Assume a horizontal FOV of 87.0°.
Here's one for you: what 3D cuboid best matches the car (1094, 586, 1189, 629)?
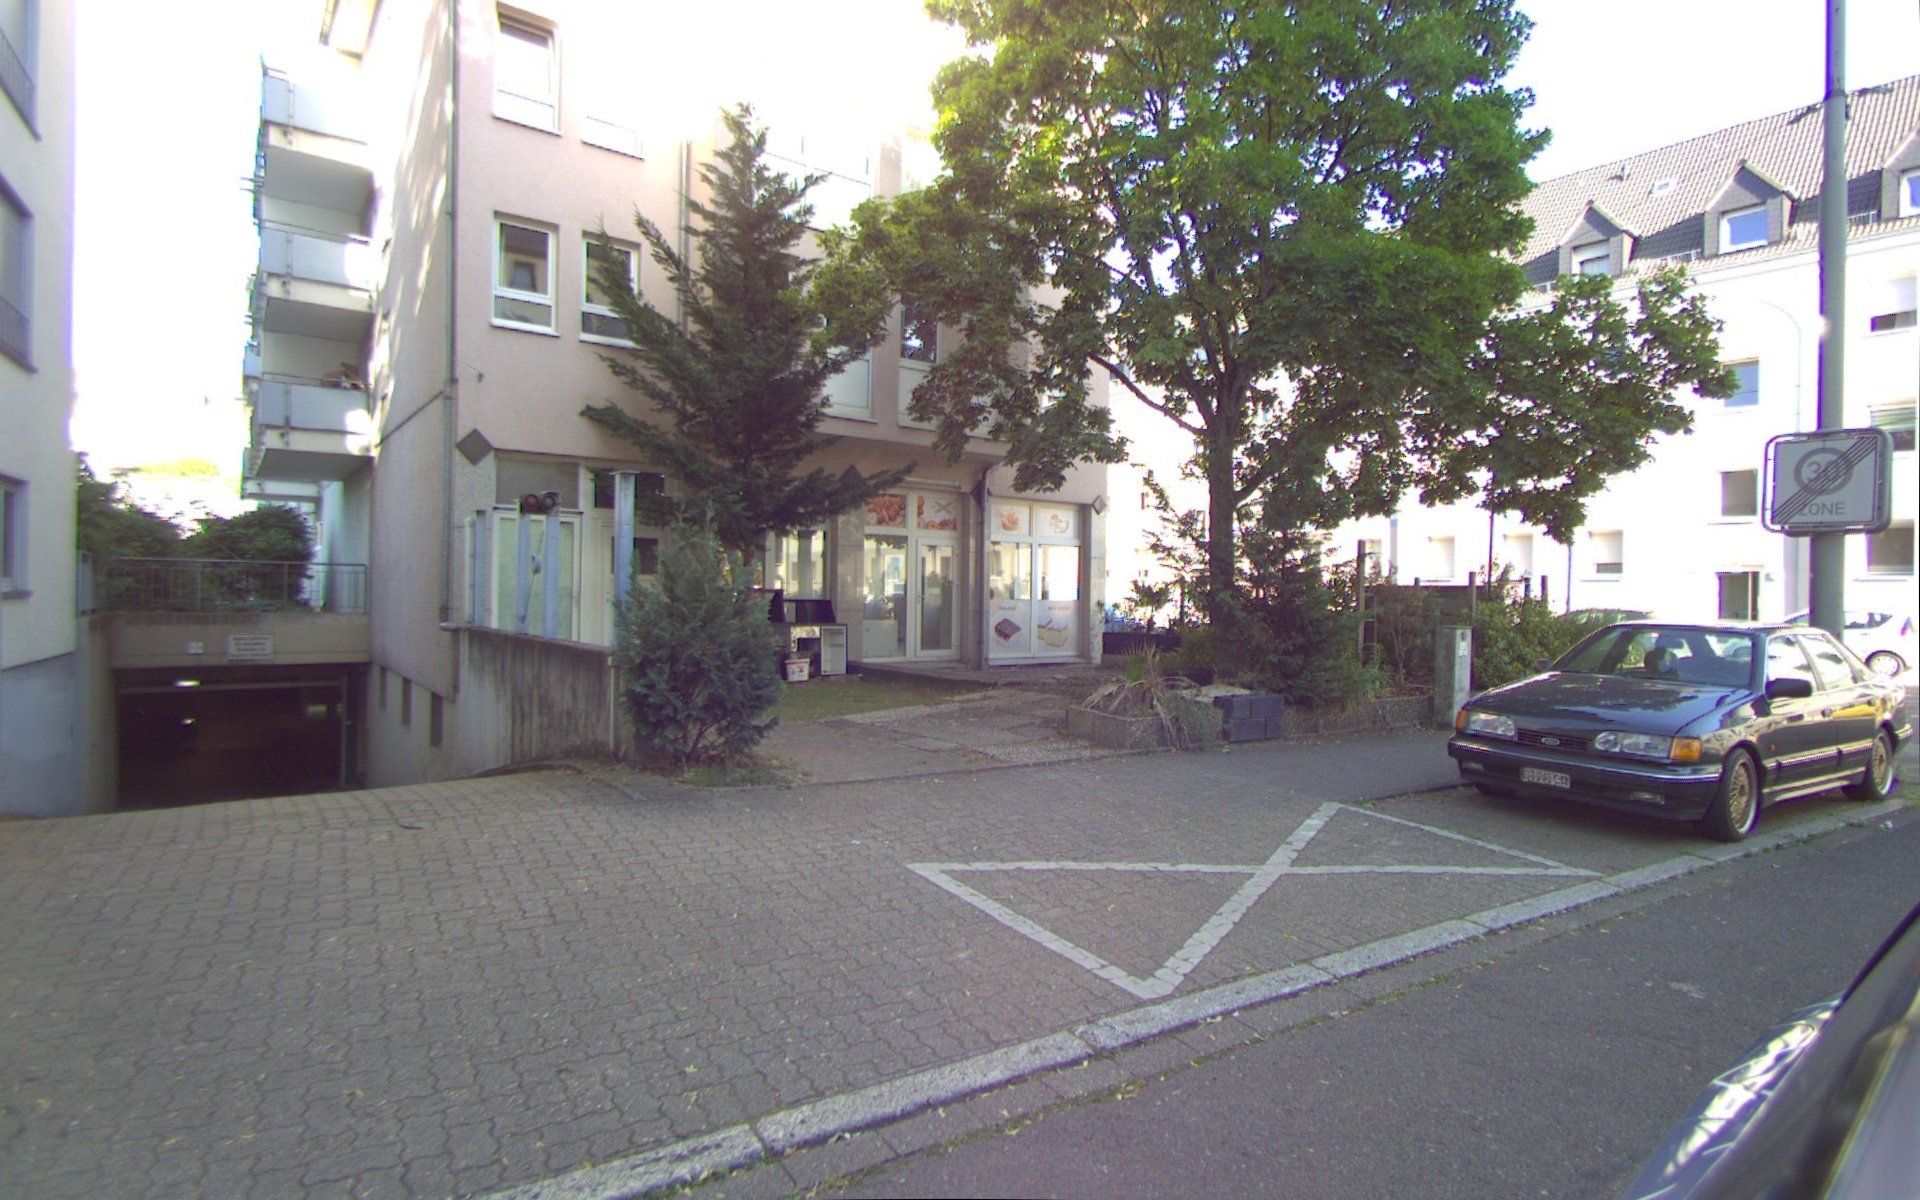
[{"bbox_3d":[7.858,0.310,44.178,1.663,1.804,3.997,1,0,-38],"label":"car"}]

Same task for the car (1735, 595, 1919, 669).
[{"bbox_3d":[21.012,0.714,24.178,1.620,1.627,3.702,1,0,-39],"label":"car"}]

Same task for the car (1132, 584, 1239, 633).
[{"bbox_3d":[8.842,0.317,39.960,1.663,1.804,3.997,1,0,-38],"label":"car"}]

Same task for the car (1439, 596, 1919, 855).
[{"bbox_3d":[5.823,0.750,7.850,4.419,1.424,1.668,0,3,-33],"label":"car"}]

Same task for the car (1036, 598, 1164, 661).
[{"bbox_3d":[3.282,0.649,24.017,1.242,1.373,2.874,-1,1,-43],"label":"car"}]

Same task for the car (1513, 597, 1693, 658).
[{"bbox_3d":[17.868,0.800,28.266,1.620,1.527,3.872,1,-3,-39],"label":"car"}]
